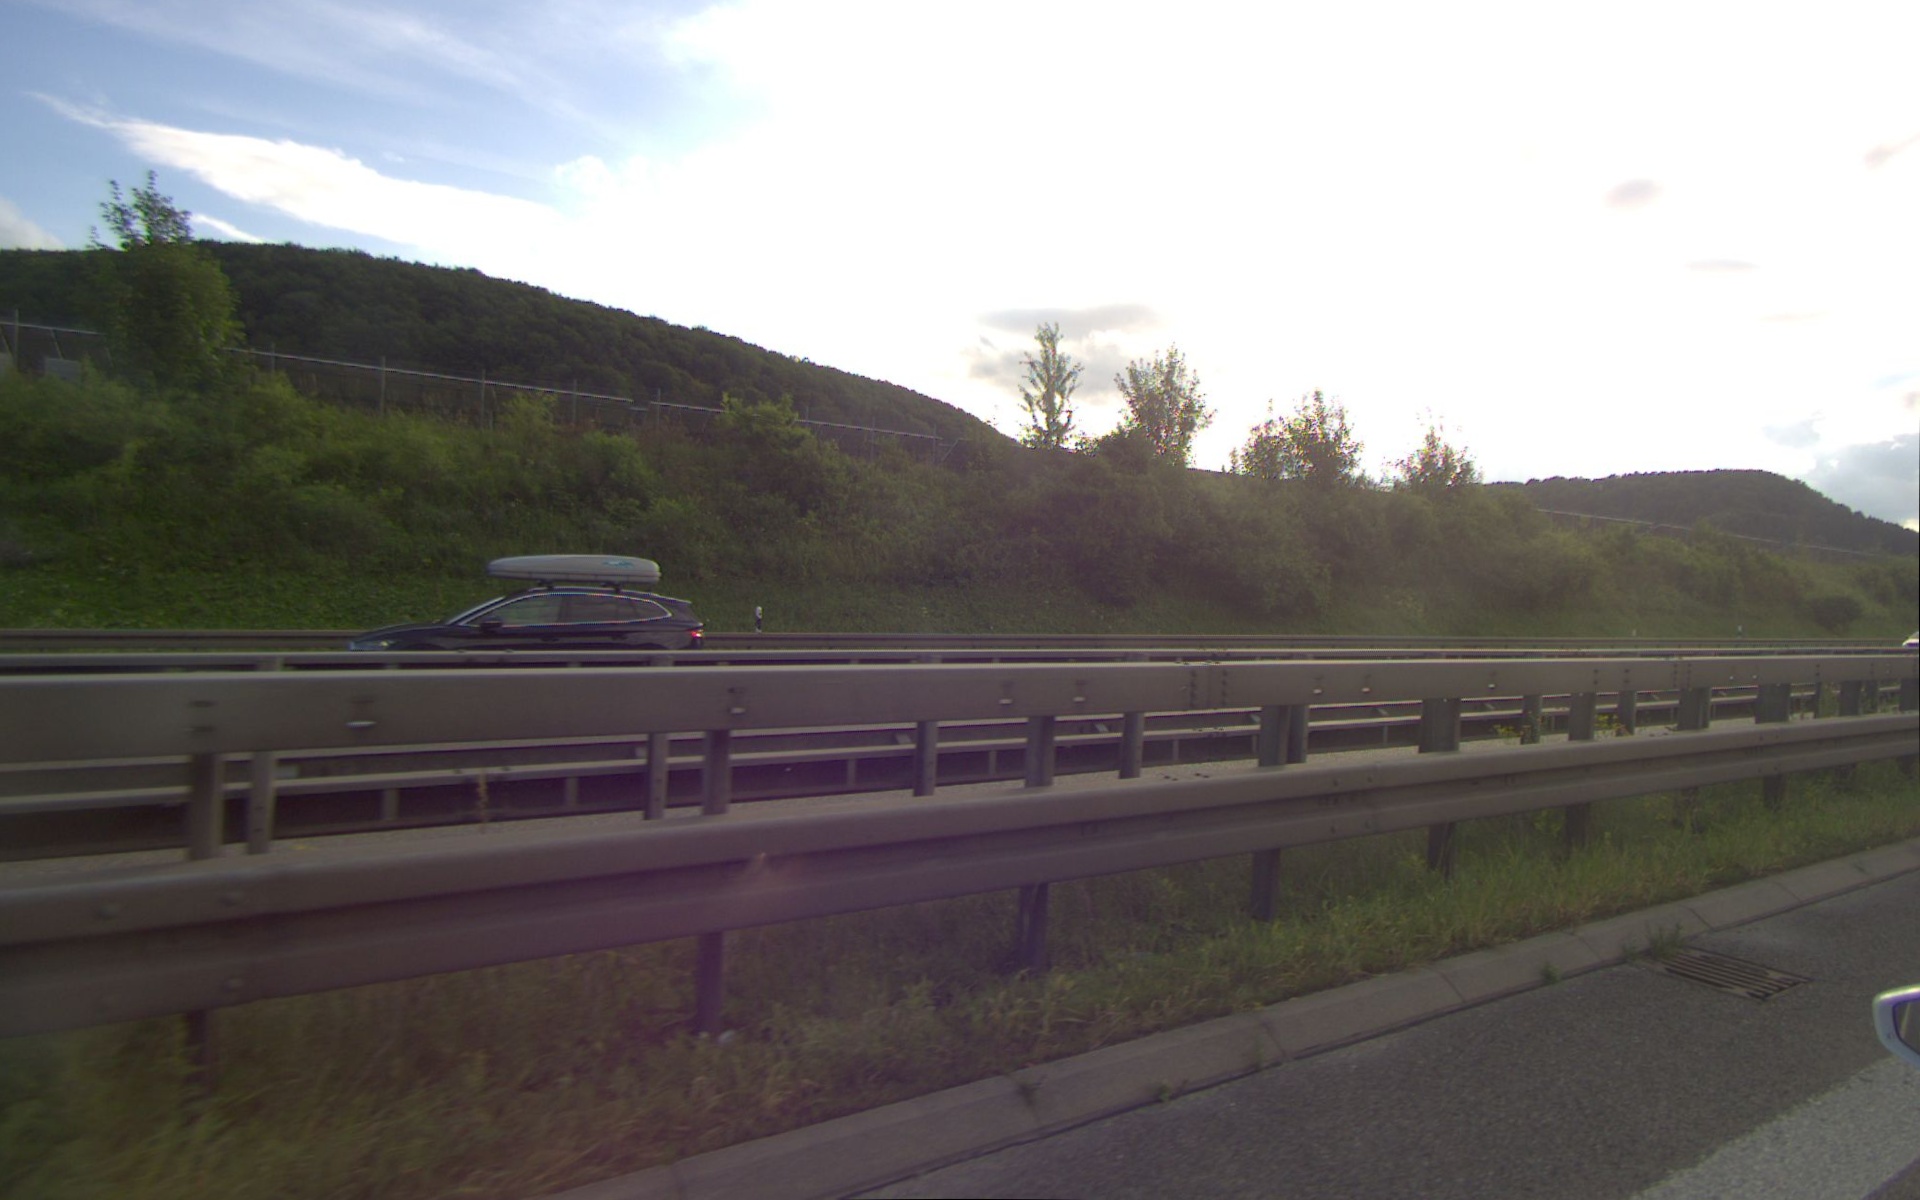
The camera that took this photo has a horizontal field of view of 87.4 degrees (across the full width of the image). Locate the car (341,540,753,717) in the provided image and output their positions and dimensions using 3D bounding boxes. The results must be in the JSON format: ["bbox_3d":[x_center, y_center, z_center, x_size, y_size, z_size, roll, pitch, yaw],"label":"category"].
[{"bbox_3d":[-5.576,0.379,13.865,4.962,2.067,1.952,2,0,-31],"label":"car"}]

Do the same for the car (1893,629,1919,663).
[{"bbox_3d":[43.411,2.072,44.806,3.956,1.434,1.697,2,0,-33],"label":"car"}]

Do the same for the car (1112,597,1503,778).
[{"bbox_3d":[3.901,0.856,11.099,4.291,1.678,1.636,1,0,-29],"label":"car"}]
